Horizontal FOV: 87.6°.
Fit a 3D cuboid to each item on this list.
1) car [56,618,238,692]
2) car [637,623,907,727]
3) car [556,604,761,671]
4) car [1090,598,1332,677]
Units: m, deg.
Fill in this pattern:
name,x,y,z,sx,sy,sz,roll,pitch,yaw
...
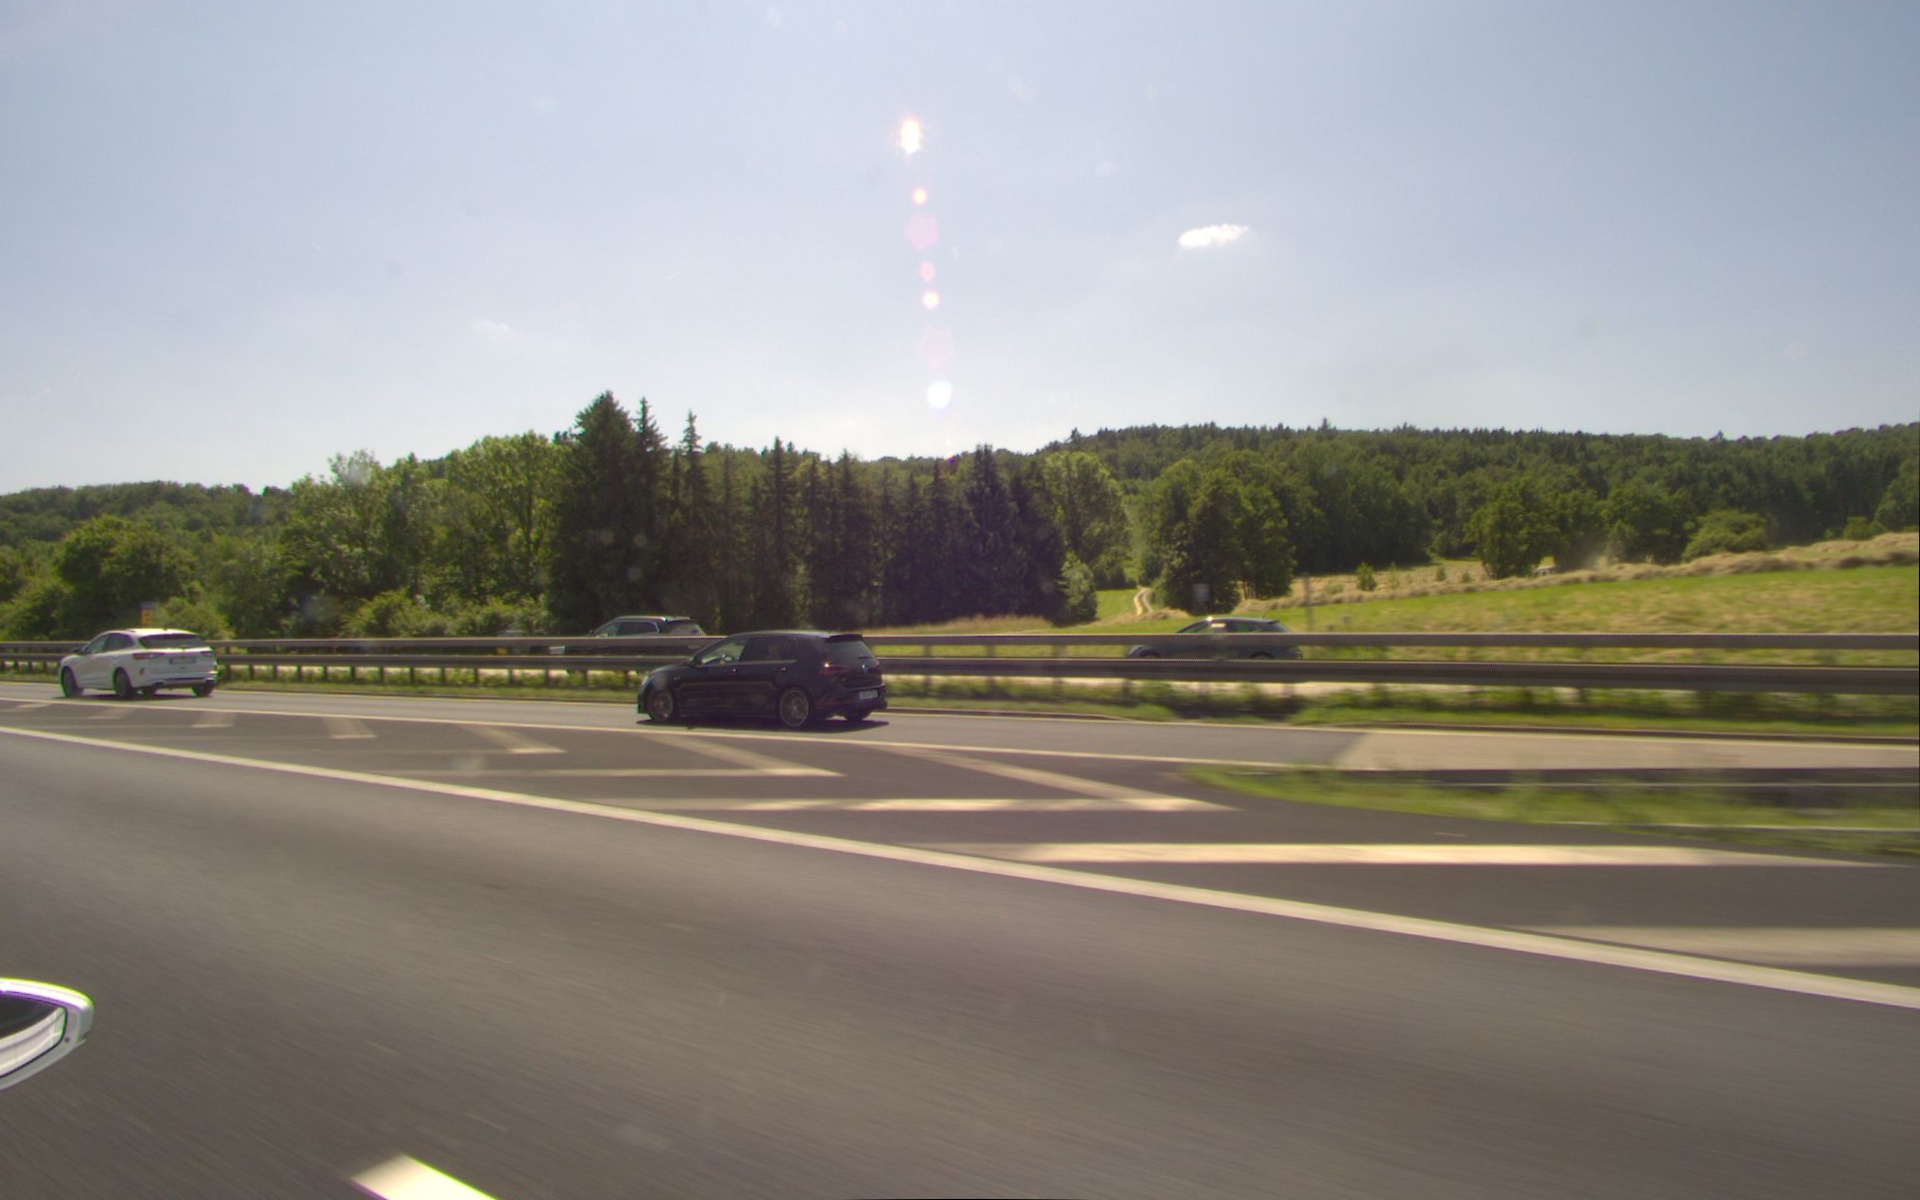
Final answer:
name,x,y,z,sx,sy,sz,roll,pitch,yaw
car,-20.223,1.341,24.894,4.399,1.683,1.993,-1,-2,29
car,-2.963,1.123,15.689,3.905,1.453,1.794,-1,-2,28
car,-8.258,1.044,27.305,5.537,1.683,1.994,-1,-2,27
car,5.793,0.884,23.357,5.151,1.683,1.991,-2,-2,31
